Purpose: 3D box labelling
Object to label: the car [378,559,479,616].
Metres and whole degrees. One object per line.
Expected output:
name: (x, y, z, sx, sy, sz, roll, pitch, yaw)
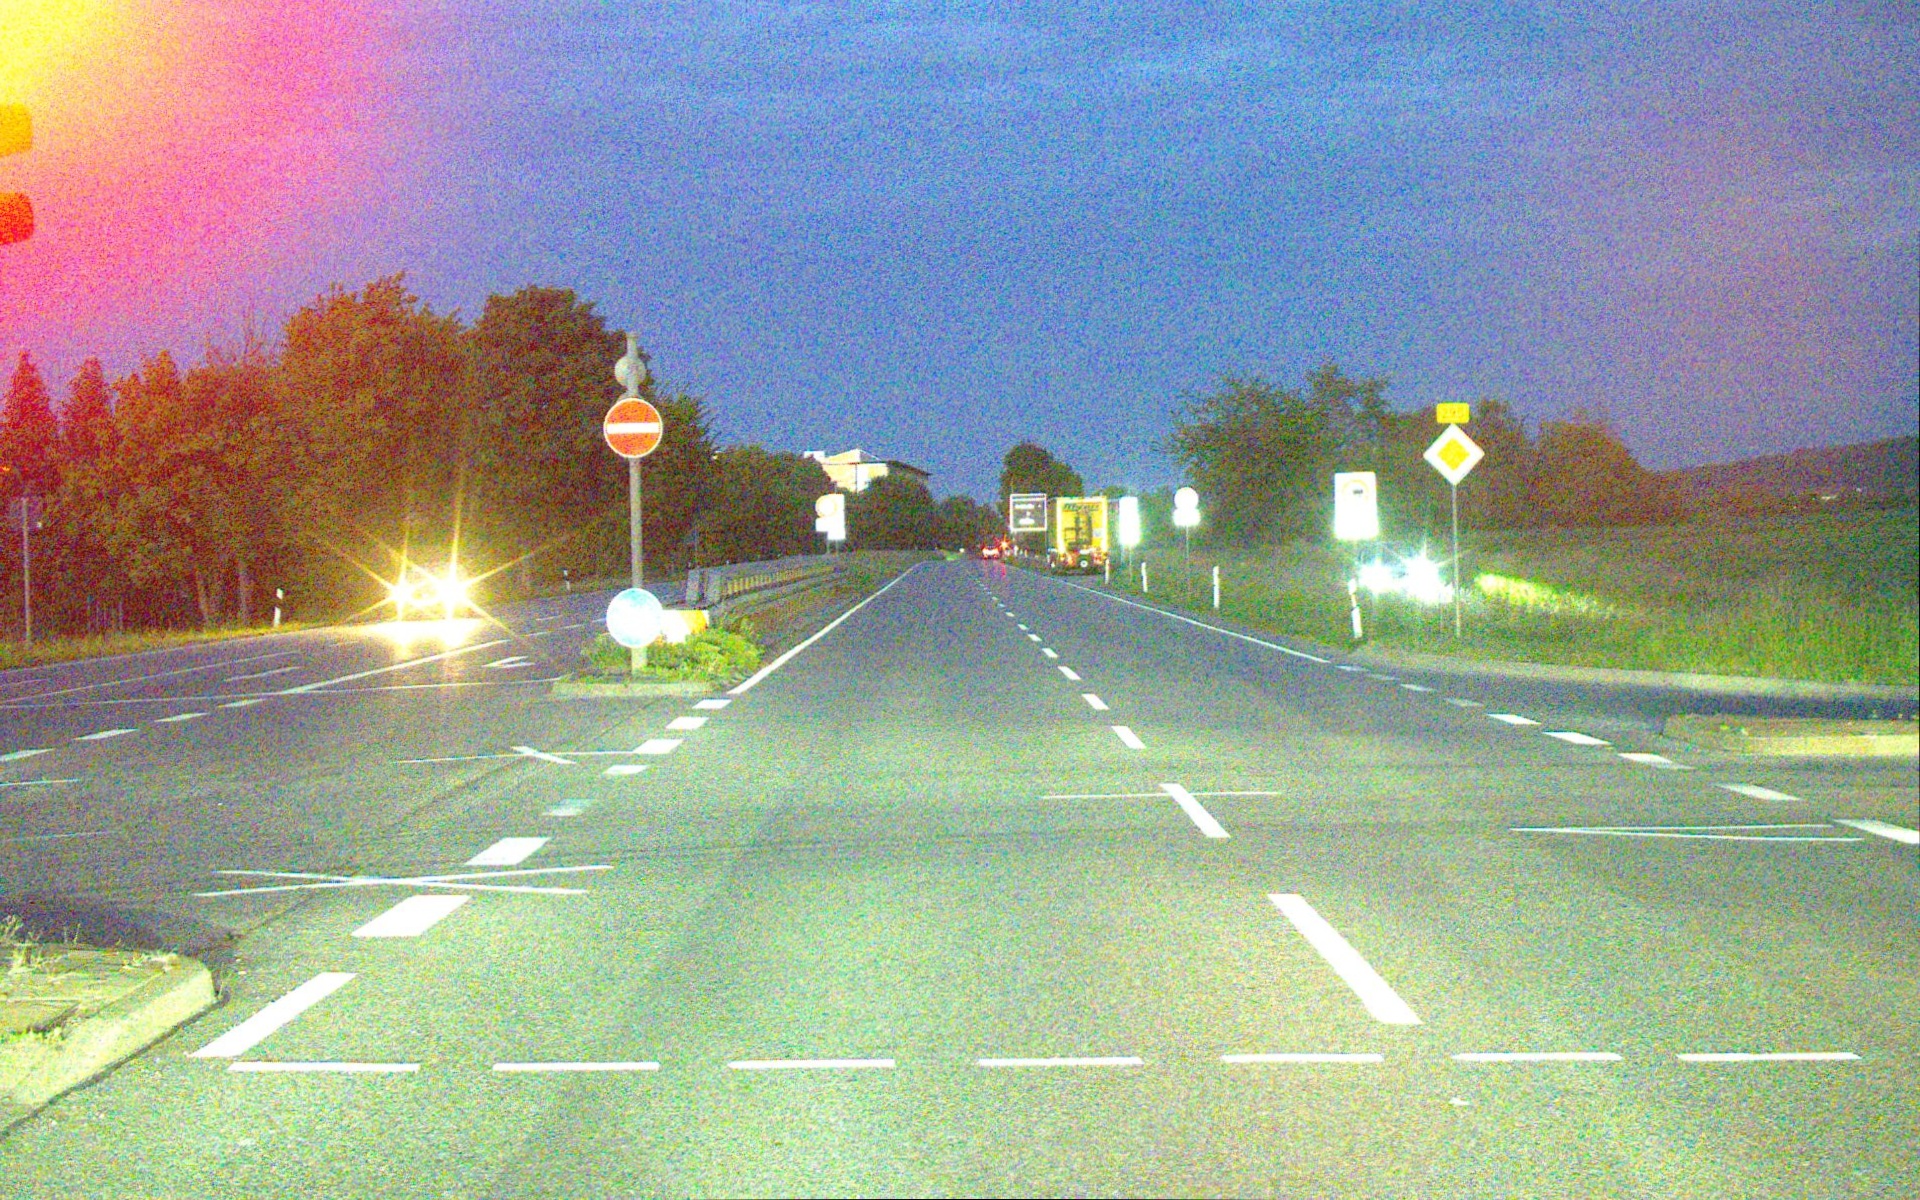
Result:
car: (-13.648, -0.343, 88.410, 1.993, 1.382, 4.000, -1, 1, -1)
